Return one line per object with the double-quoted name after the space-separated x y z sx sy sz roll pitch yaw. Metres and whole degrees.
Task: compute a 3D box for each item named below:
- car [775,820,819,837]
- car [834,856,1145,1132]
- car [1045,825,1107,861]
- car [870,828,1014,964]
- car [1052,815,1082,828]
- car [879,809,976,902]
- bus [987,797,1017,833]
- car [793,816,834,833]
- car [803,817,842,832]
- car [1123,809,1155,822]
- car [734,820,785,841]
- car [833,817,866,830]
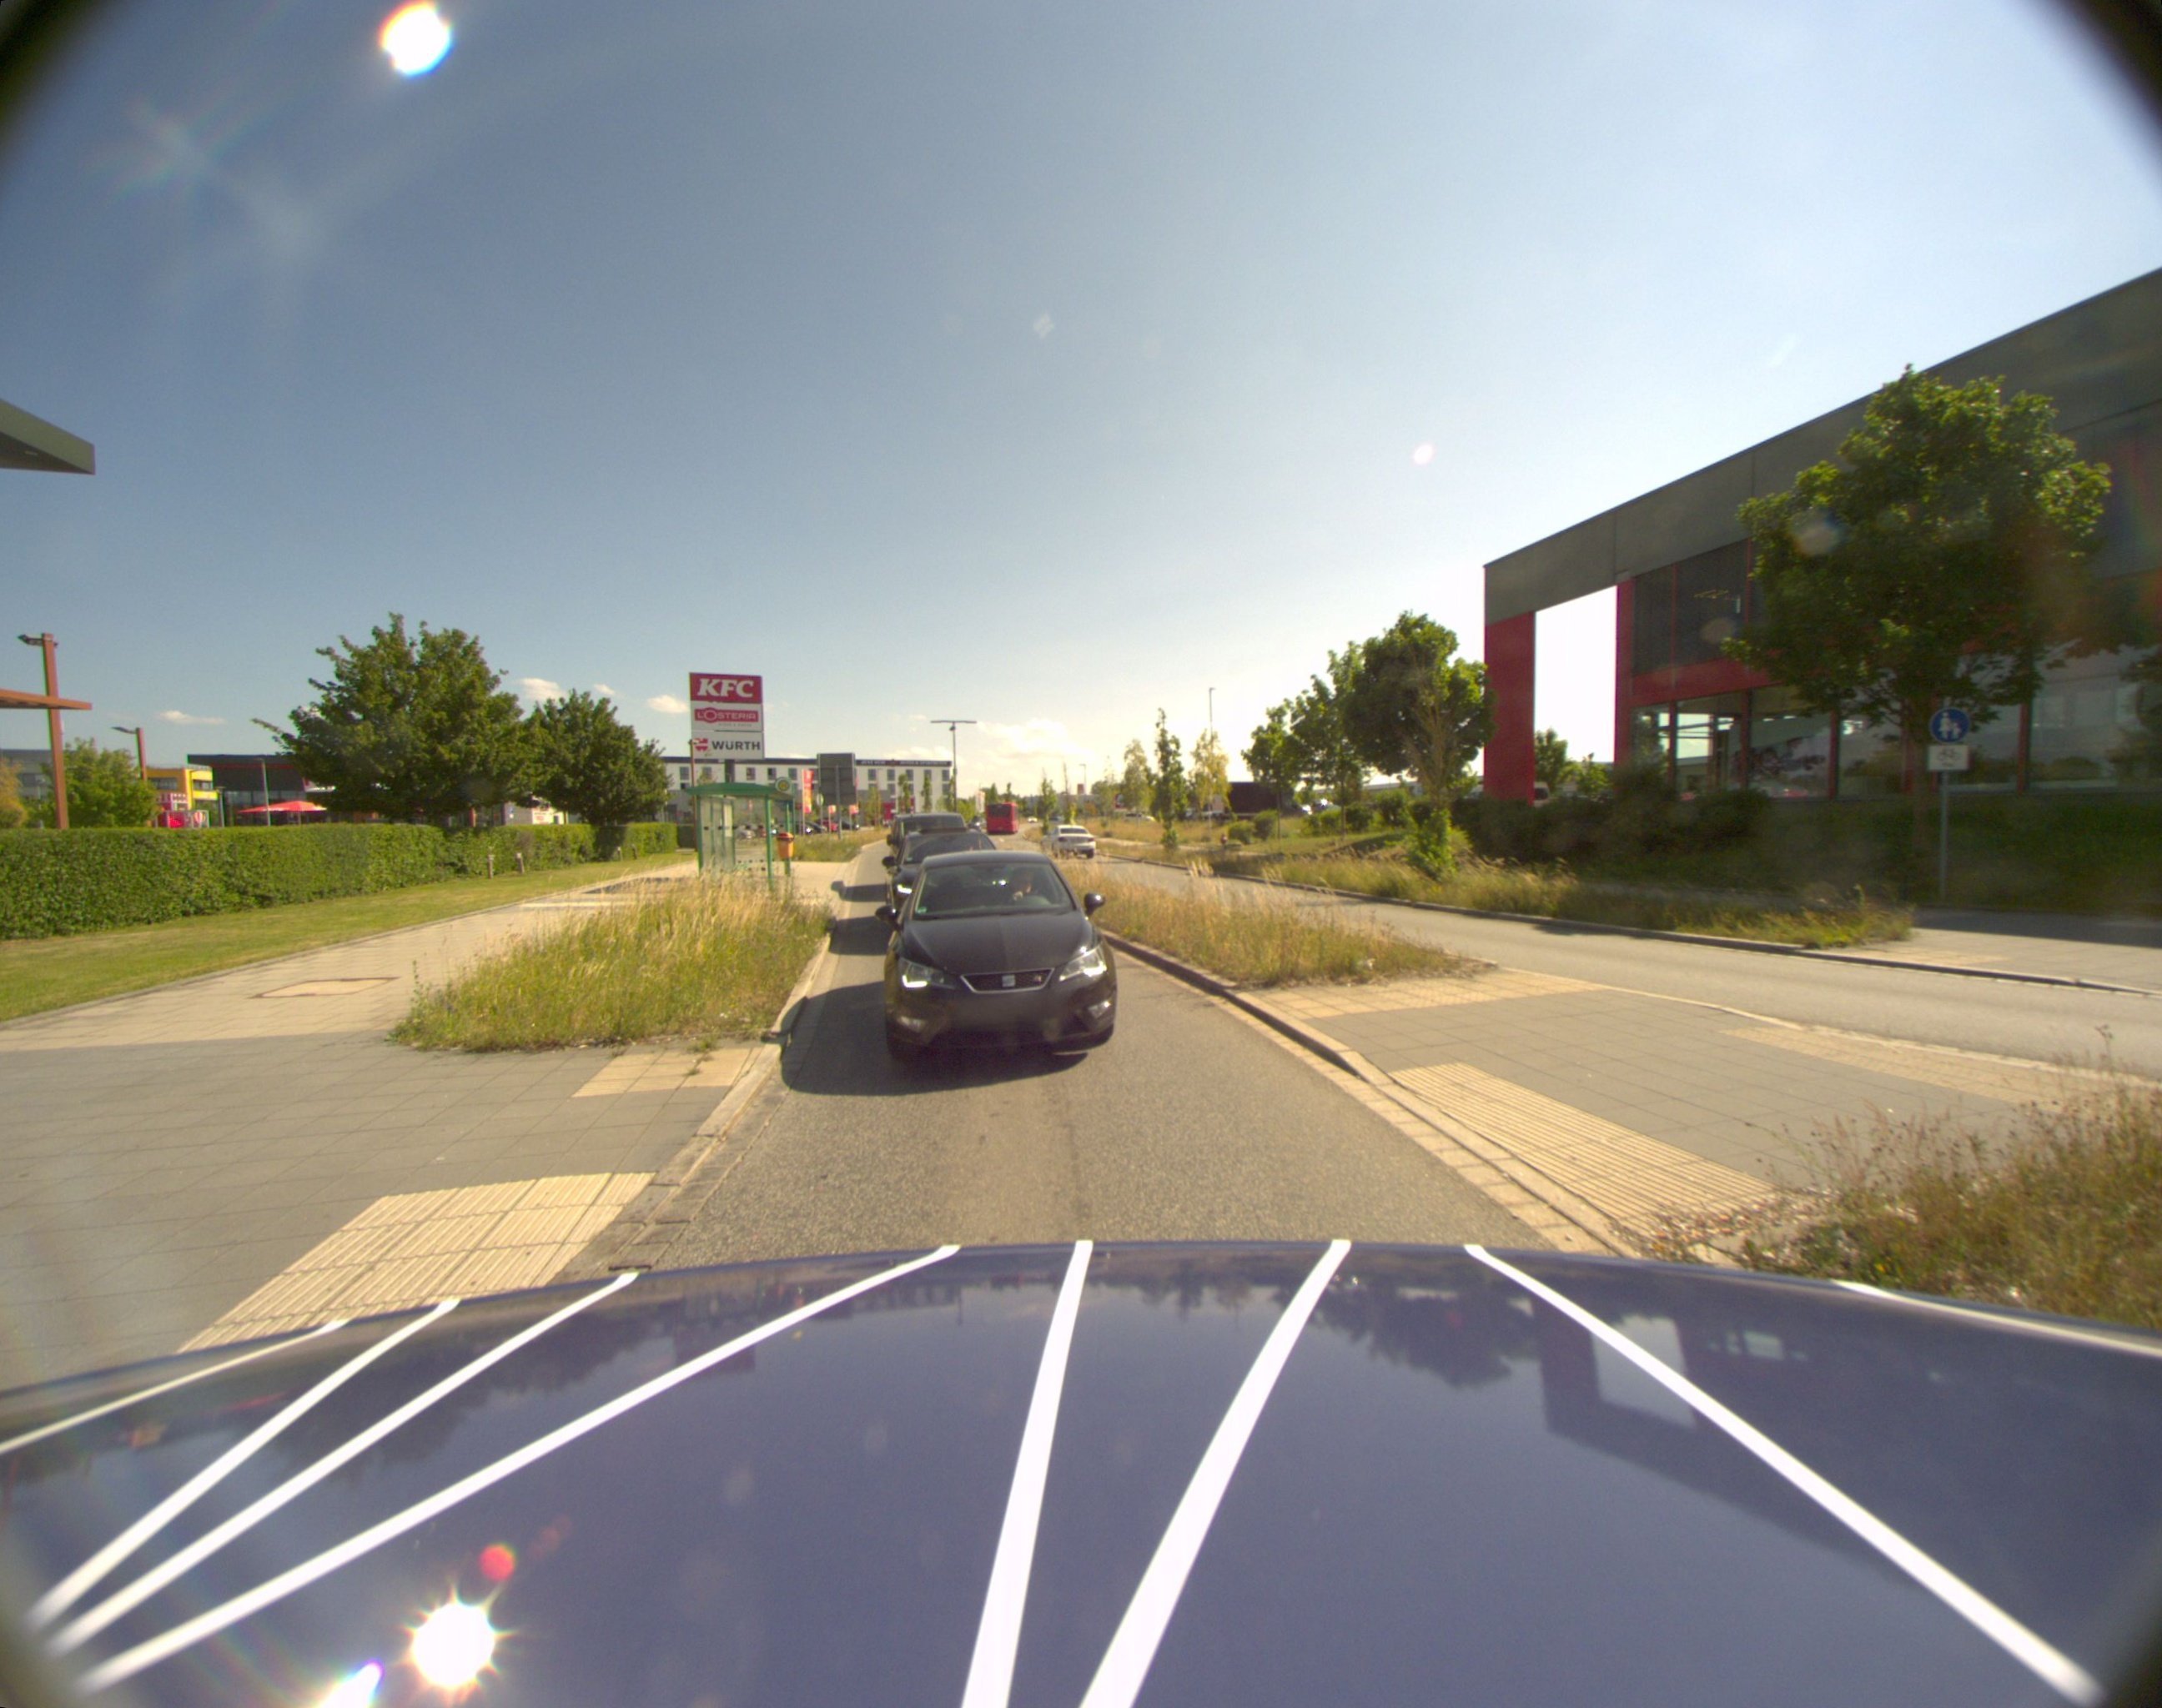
-32.298 -2.951 86.445 4.183 1.847 1.802 -1 3 3 "car"
-0.843 0.841 6.629 1.863 1.460 3.995 -1 2 -9 "car"
-0.299 -0.516 32.940 1.798 1.408 4.375 -1 2 -12 "car"
-2.337 0.506 12.523 1.863 1.679 3.993 -4 4 -12 "car"
-1.949 -4.457 103.890 3.942 1.667 1.619 -1 3 3 "car"
-4.076 -0.080 20.069 2.081 2.038 4.675 -4 4 -12 "car"
-7.813 -3.801 75.364 2.617 3.224 11.869 -1 2 -6 "bus"
-32.168 -3.579 91.528 4.185 2.003 1.932 -1 3 -2 "car"
-32.213 -3.678 94.790 4.183 1.752 1.823 -1 3 3 "car"
7.837 -5.274 103.016 4.277 1.667 1.619 -1 3 7 "car"
-32.558 -2.384 77.006 4.184 2.003 1.932 -1 3 0 "car"
-30.829 -4.062 101.347 3.822 1.611 1.756 -1 3 -1 "car"
